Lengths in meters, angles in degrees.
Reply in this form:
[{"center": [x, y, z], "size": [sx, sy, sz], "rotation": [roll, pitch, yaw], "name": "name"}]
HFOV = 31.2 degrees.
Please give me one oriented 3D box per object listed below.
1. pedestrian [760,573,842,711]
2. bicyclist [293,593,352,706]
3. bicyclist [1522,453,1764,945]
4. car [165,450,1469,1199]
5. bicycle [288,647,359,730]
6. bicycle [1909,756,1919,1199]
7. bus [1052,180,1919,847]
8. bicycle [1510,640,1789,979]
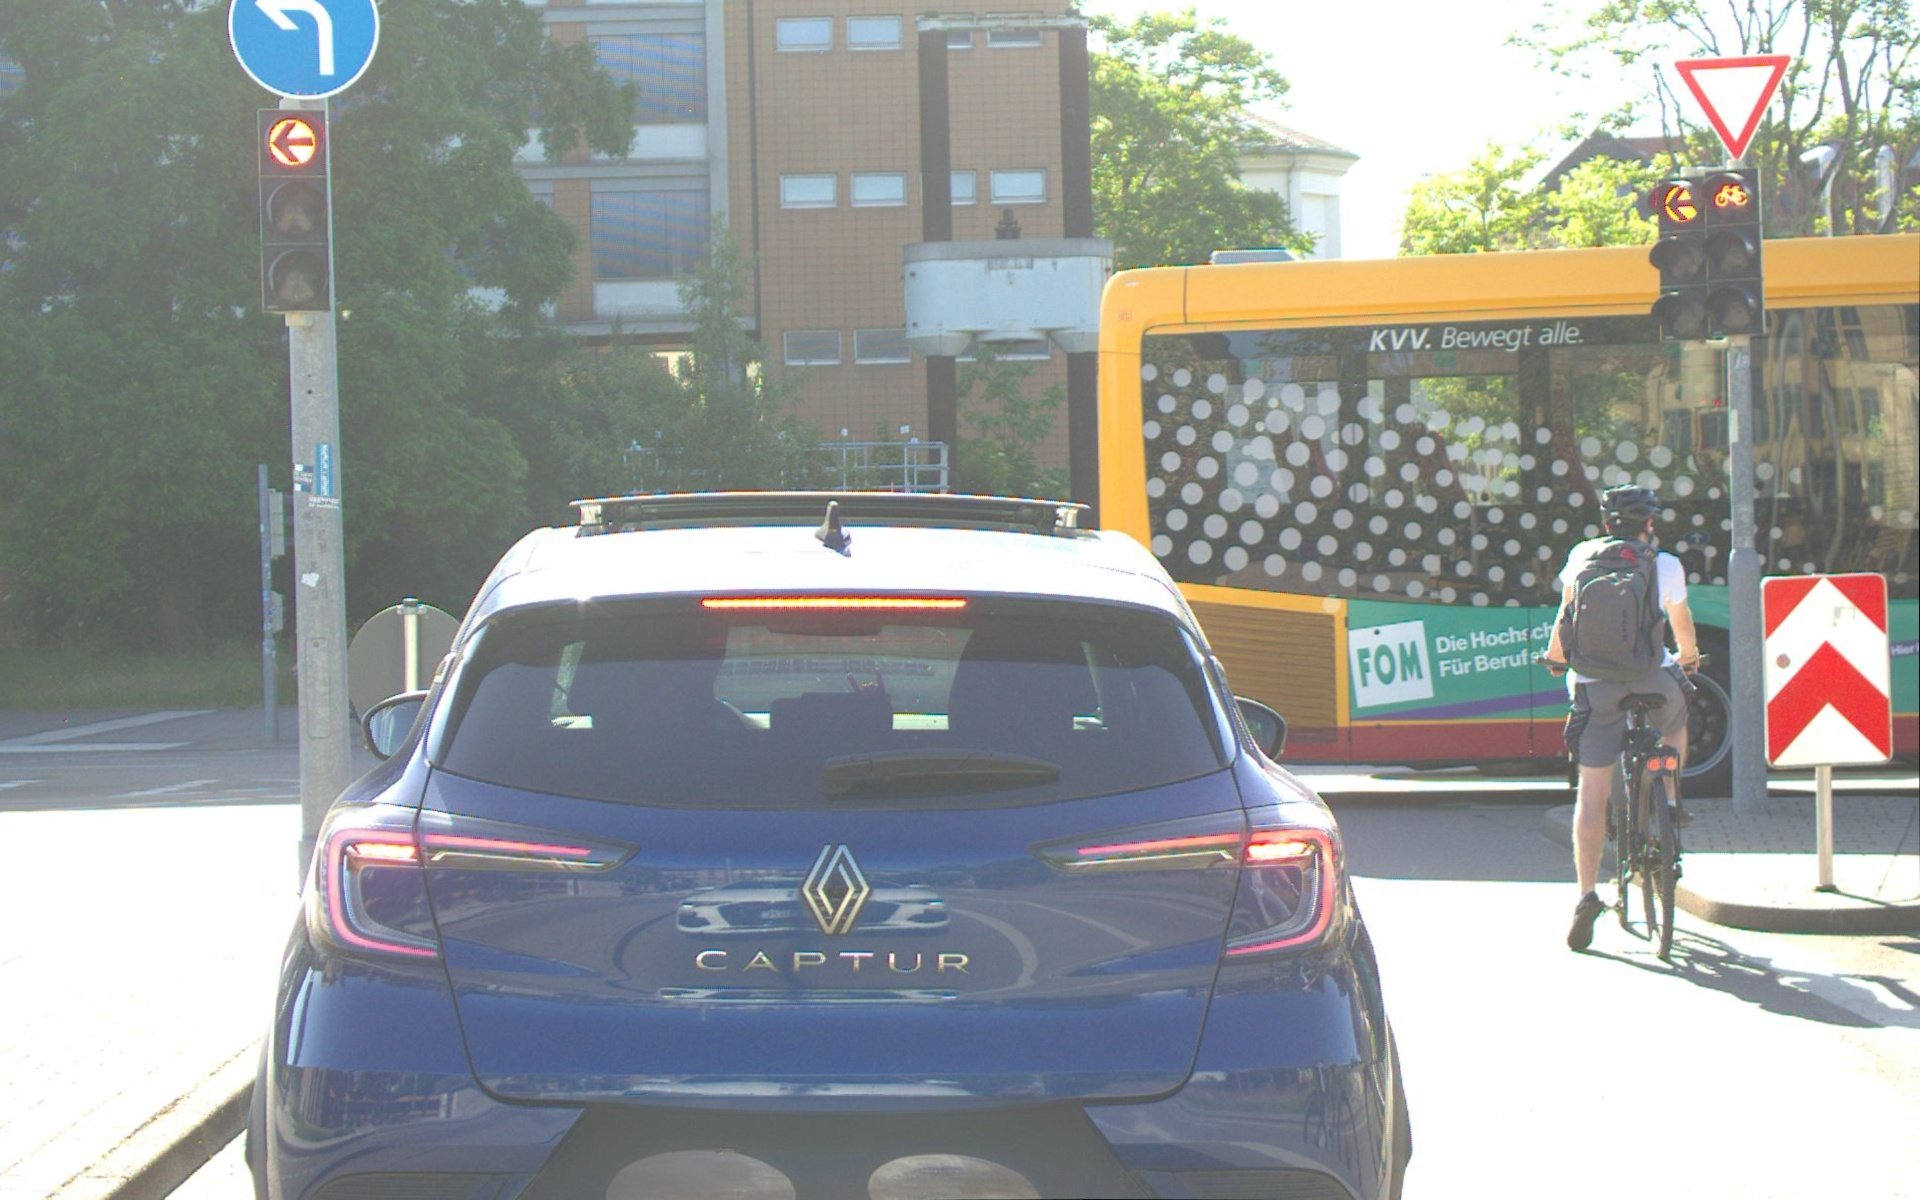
[{"center": [-2.178, 0.566, 47.151], "size": [0.932, 1.849, 0.807], "rotation": [-1, 1, 9], "name": "pedestrian"}, {"center": [-8.133, 0.639, 43.841], "size": [0.647, 1.407, 0.639], "rotation": [-1, -2, -16], "name": "bicyclist"}, {"center": [2.554, 0.358, 12.943], "size": [0.676, 1.779, 0.940], "rotation": [1, 0, -2], "name": "bicyclist"}, {"center": [-0.249, 0.588, 6.683], "size": [1.794, 1.649, 3.853], "rotation": [0, 1, -2], "name": "car"}, {"center": [-8.123, 1.136, 43.808], "size": [0.698, 1.004, 1.868], "rotation": [-2, -2, -16], "name": "bicycle"}, {"center": [2.564, 0.900, 7.031], "size": [0.671, 1.047, 1.844], "rotation": [1, 1, -2], "name": "bicycle"}, {"center": [6.971, -0.516, 19.568], "size": [12.430, 3.558, 3.248], "rotation": [-1, 1, 13], "name": "bus"}, {"center": [2.558, 0.742, 12.932], "size": [0.615, 1.134, 1.826], "rotation": [0, 1, -2], "name": "bicycle"}]
